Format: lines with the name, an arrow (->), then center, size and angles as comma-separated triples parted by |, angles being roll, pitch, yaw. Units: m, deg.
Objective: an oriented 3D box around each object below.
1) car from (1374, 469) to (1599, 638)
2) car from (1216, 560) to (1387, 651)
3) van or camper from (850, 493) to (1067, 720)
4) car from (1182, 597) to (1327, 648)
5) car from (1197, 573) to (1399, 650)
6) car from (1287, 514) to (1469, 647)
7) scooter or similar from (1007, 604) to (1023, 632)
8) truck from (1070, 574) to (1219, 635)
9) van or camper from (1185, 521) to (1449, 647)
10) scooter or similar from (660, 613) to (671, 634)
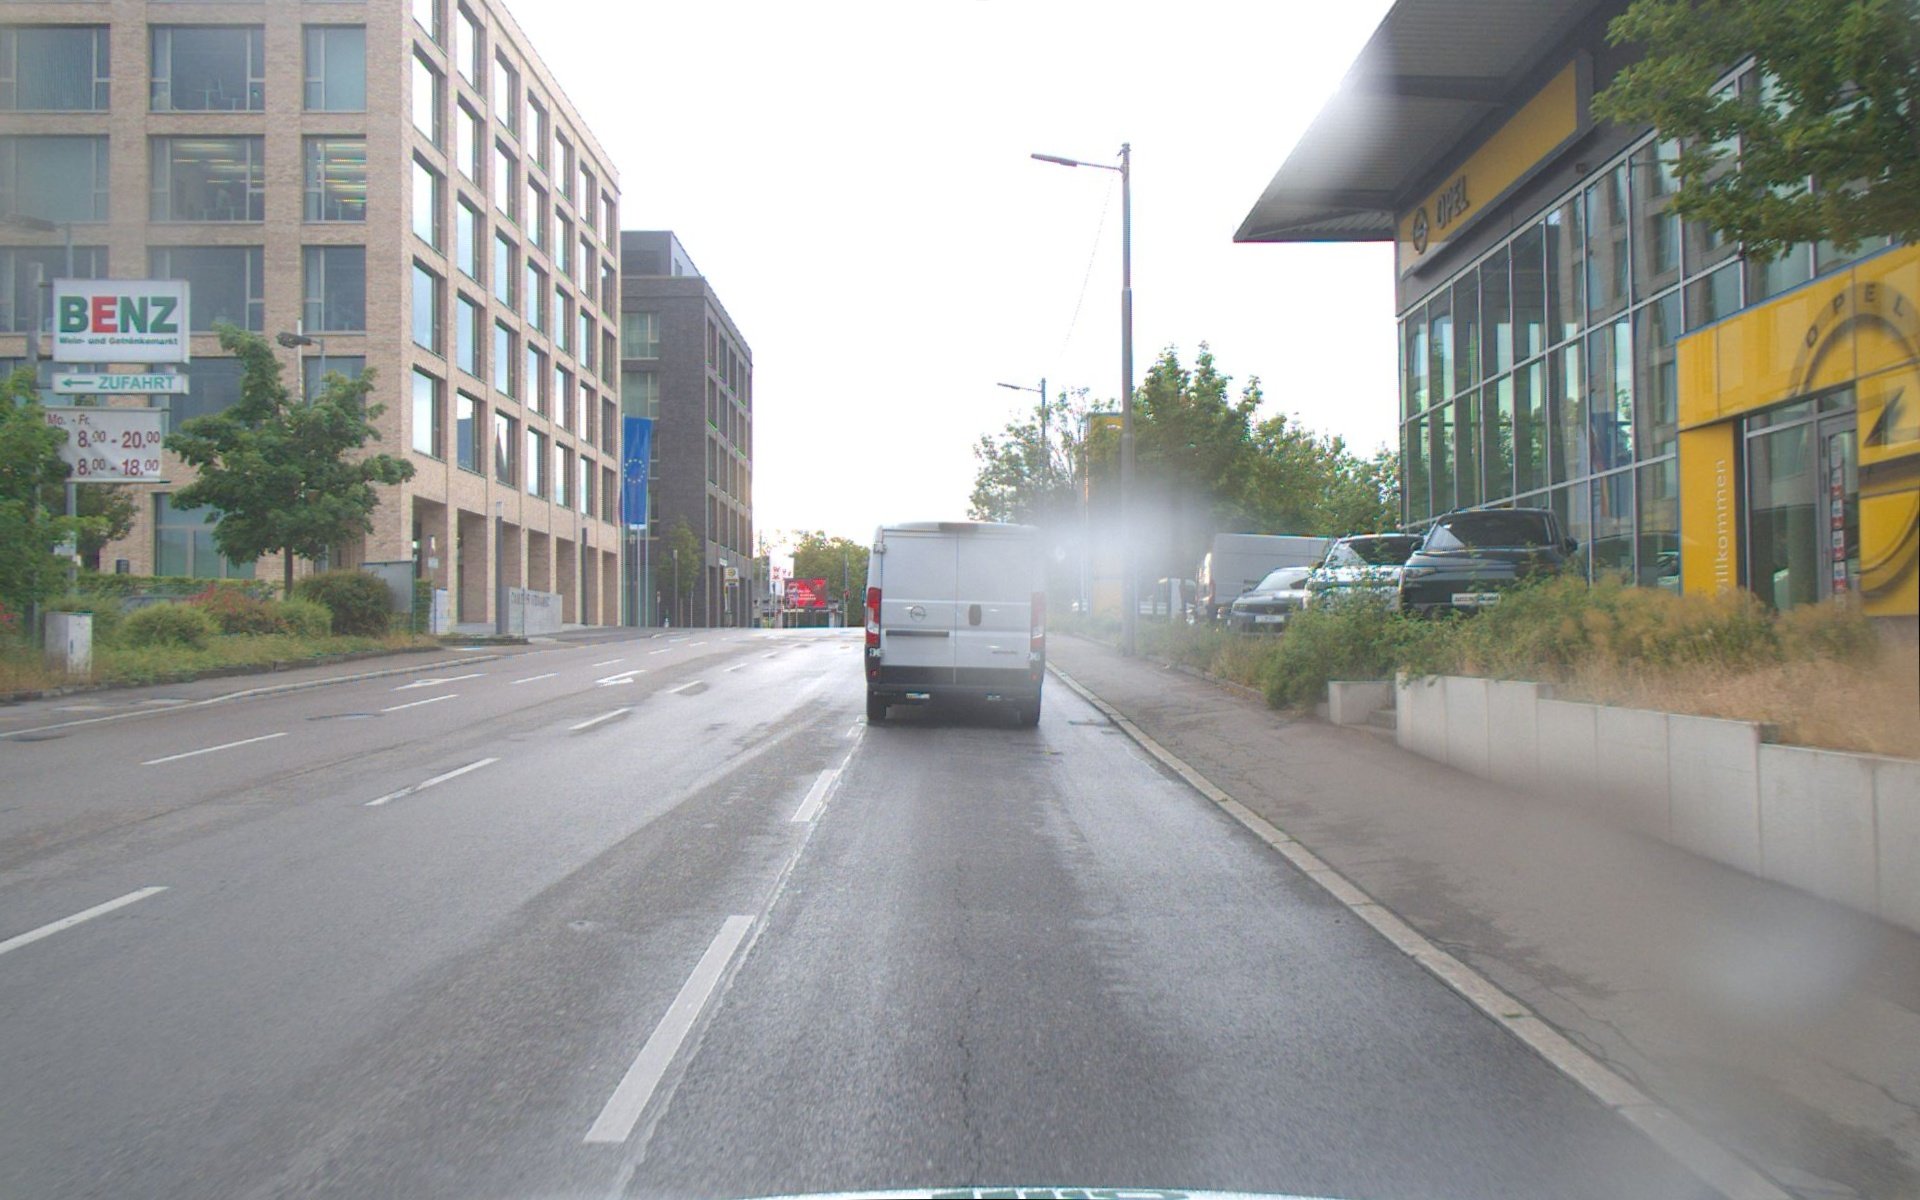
car -> 6.430, -0.466, 19.859 | 1.954, 1.740, 4.425 | -2, -1, 25
car -> 6.275, 0.110, 29.966 | 1.872, 1.480, 4.566 | -2, -1, 27
van or camper -> 0.001, 0.070, 20.316 | 2.292, 2.398, 5.199 | 1, 0, 0
car -> 8.554, 0.647, 48.254 | 3.905, 1.453, 1.895 | 0, 0, 0
car -> 7.098, 0.226, 34.471 | 4.482, 1.480, 1.885 | -1, -2, -44
car -> 6.320, -0.239, 24.647 | 1.953, 1.740, 4.577 | -2, -1, 22
scooter or similar -> 3.172, 1.049, 96.001 | 0.428, 1.592, 1.264 | 1, 0, -22
truck -> 6.596, 0.152, 59.524 | 5.045, 2.049, 2.344 | 1, 0, -3
van or camper -> 8.259, -0.355, 38.685 | 5.620, 2.771, 2.351 | 1, 0, -1
scooter or similar -> -15.608, 1.248, 87.689 | 0.343, 1.090, 1.428 | 1, -2, 0
